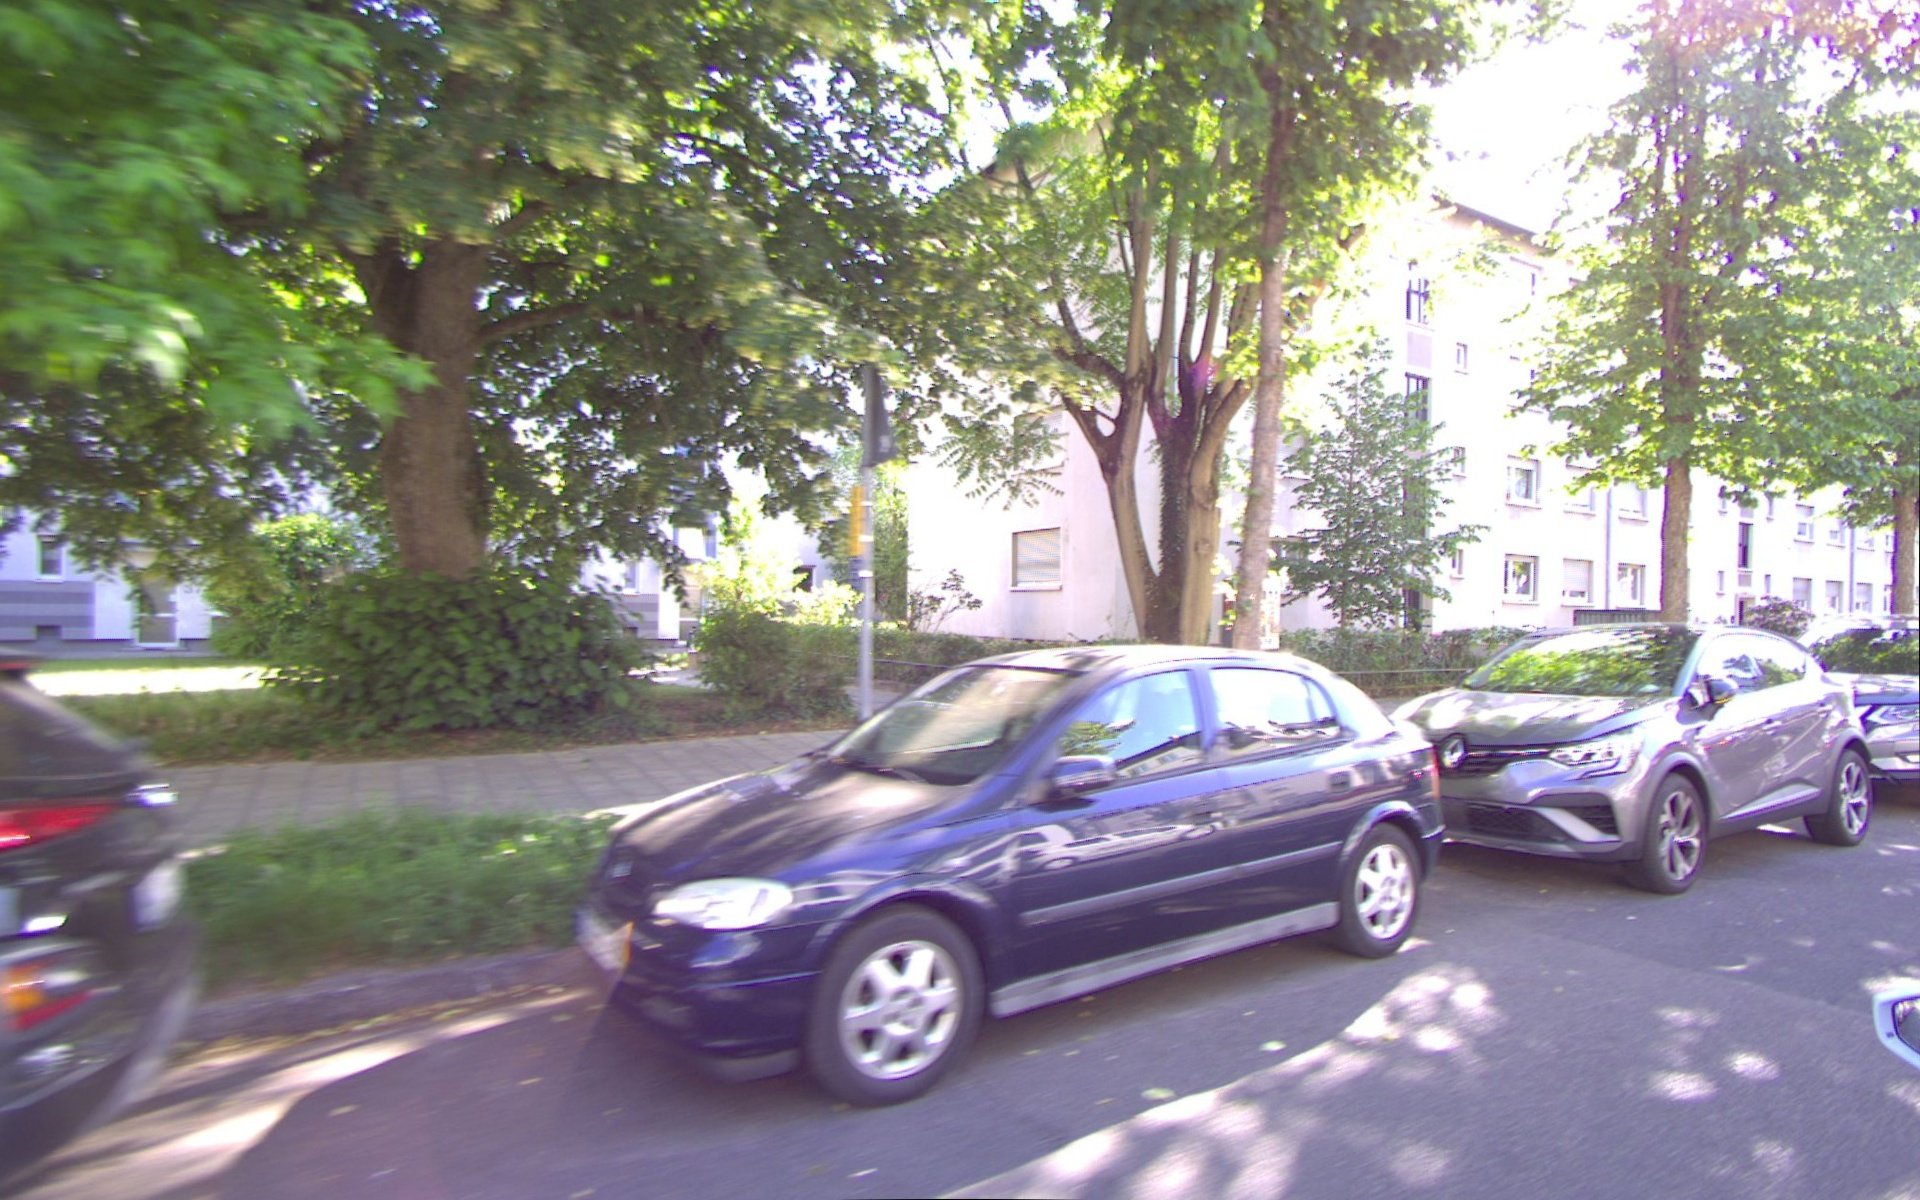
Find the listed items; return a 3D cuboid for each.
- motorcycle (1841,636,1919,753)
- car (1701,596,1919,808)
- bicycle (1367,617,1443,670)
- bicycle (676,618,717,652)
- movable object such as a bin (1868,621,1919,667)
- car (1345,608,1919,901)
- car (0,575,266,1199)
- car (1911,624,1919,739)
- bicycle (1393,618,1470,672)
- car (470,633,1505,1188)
[{"bbox_3d":[11.708,1.122,11.773,0.776,1.350,1.949,1,-1,-23],"label":"motorcycle"},{"bbox_3d":[9.399,0.872,9.937,4.761,1.710,1.758,1,-1,-33],"label":"car"},{"bbox_3d":[10.778,1.039,24.295,1.888,1.217,0.683,1,-1,-29],"label":"bicycle"},{"bbox_3d":[-8.947,1.172,34.065,0.720,1.066,1.947,1,0,-34],"label":"bicycle"},{"bbox_3d":[28.497,1.337,30.670,1.366,1.341,0.923,1,-1,-37],"label":"movable object such as a bin"},{"bbox_3d":[4.967,0.871,7.262,4.368,1.551,1.760,1,0,-31],"label":"car"},{"bbox_3d":[-3.972,0.728,1.710,4.429,1.598,1.698,1,-1,-31],"label":"car"},{"bbox_3d":[14.581,1.084,13.326,4.134,1.489,1.847,1,-1,-31],"label":"car"},{"bbox_3d":[11.116,1.049,23.677,1.888,1.217,0.683,1,-1,-29],"label":"bicycle"},{"bbox_3d":[0.366,0.845,4.498,4.433,1.370,1.775,1,-1,-33],"label":"car"}]
